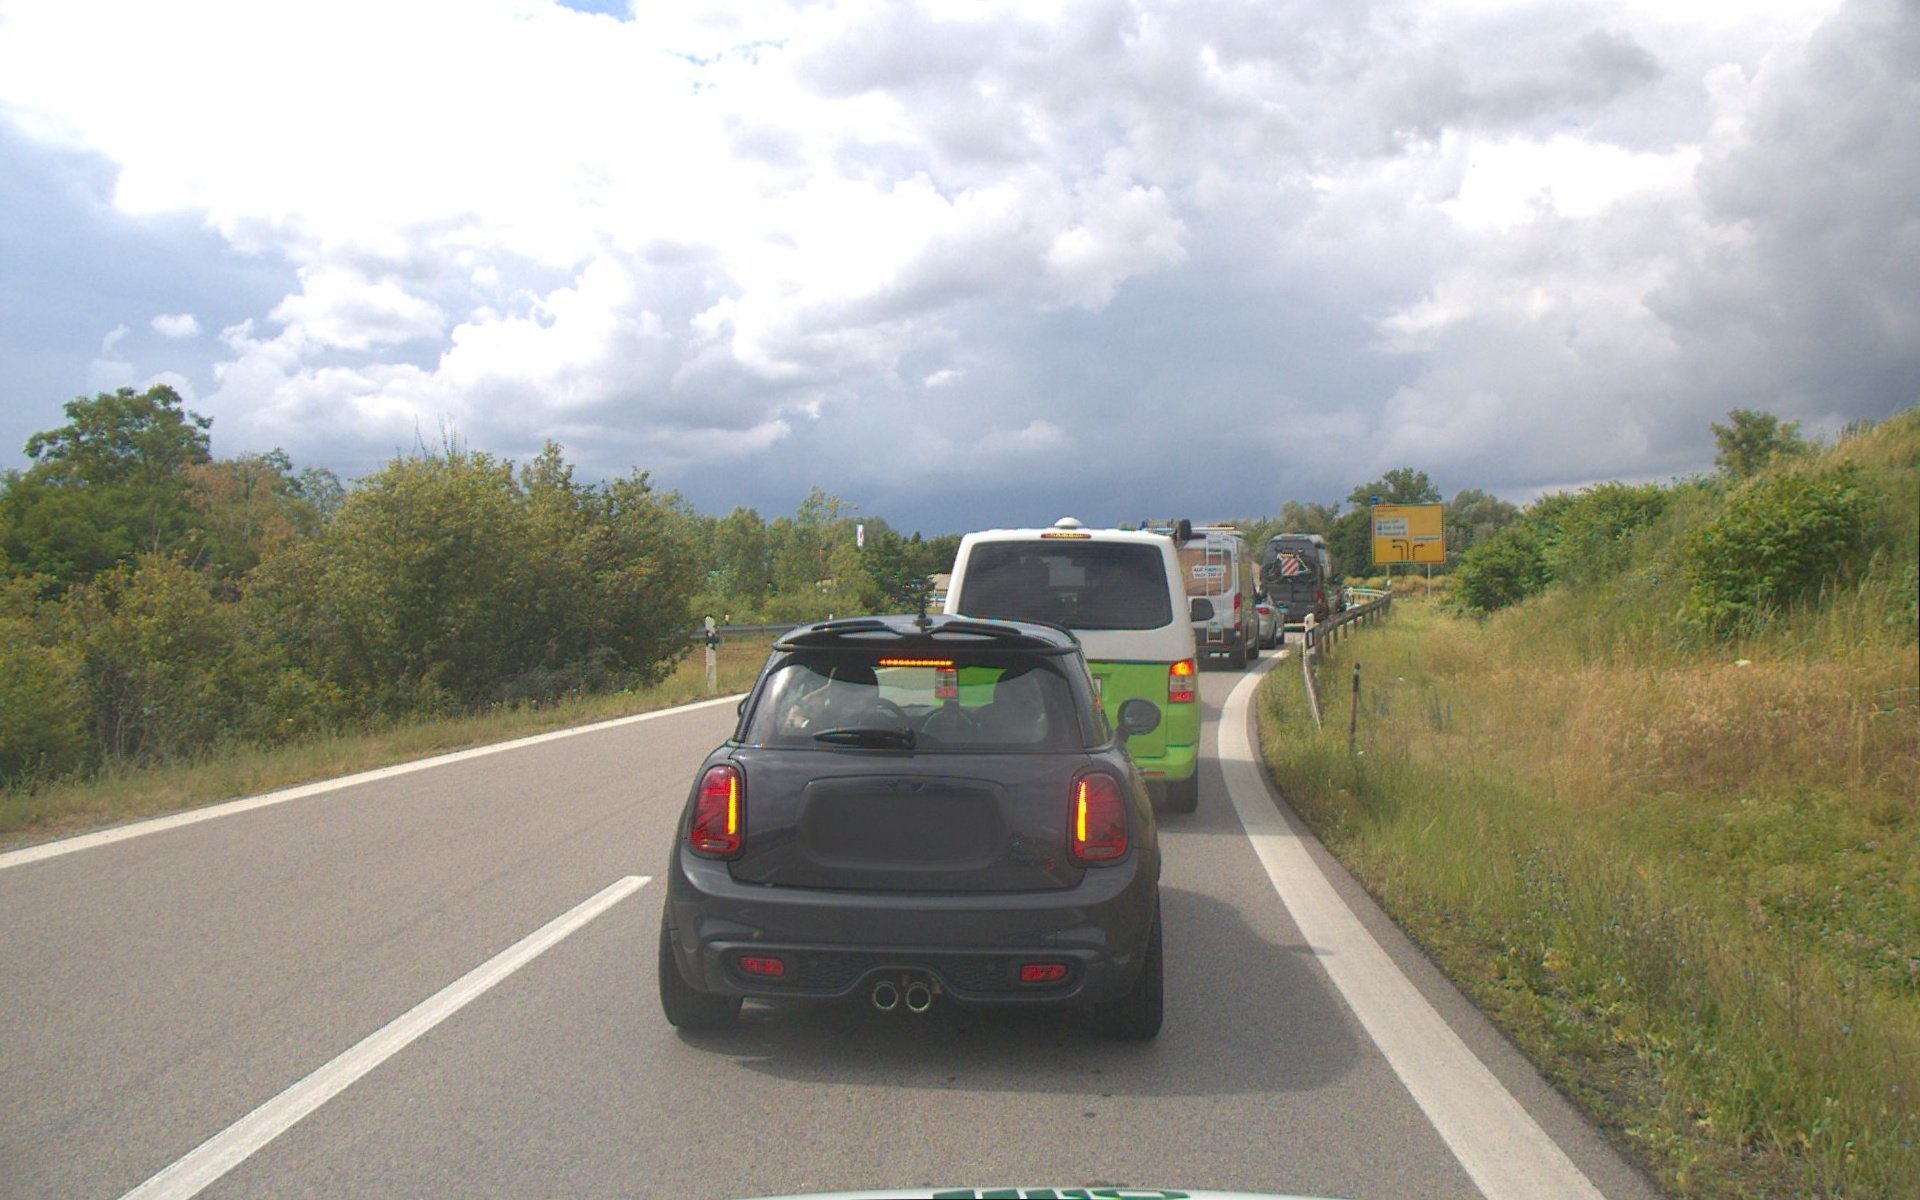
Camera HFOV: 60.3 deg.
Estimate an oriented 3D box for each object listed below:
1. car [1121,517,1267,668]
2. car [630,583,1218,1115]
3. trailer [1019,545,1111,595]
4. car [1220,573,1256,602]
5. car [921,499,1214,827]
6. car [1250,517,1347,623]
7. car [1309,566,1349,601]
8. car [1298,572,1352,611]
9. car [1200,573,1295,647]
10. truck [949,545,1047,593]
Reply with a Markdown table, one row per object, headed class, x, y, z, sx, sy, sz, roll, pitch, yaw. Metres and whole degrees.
| class | x | y | z | sx | sy | sz | roll | pitch | yaw |
| --- | --- | --- | --- | --- | --- | --- | --- | --- | --- |
| car | 4.667 | -0.126 | 32.214 | 2.165 | 2.668 | 5.538 | 1 | 0 | 15 |
| car | -0.009 | 0.728 | 6.836 | 1.762 | 1.573 | 3.740 | 0 | 0 | 3 |
| trailer | 8.674 | -2.465 | 137.618 | 3.008 | 3.966 | 8.671 | 1 | 0 | -33 |
| car | 19.285 | -0.880 | 115.024 | 2.051 | 1.916 | 4.497 | 1 | 0 | 4 |
| car | 0.959 | 0.393 | 12.672 | 1.870 | 2.081 | 4.184 | 0 | 0 | 8 |
| car | 10.759 | -0.863 | 52.152 | 2.262 | 3.122 | 6.665 | 1 | 0 | 18 |
| car | 21.305 | -0.924 | 95.676 | 2.050 | 1.916 | 4.499 | 1 | 0 | 10 |
| car | 15.951 | -0.336 | 72.142 | 1.853 | 1.616 | 4.497 | 1 | 0 | 18 |
| car | 7.062 | 0.245 | 40.369 | 1.951 | 1.671 | 3.931 | 1 | 0 | 15 |
| truck | 3.236 | -2.645 | 145.078 | 2.818 | 4.045 | 9.887 | 1 | 0 | -39 |
